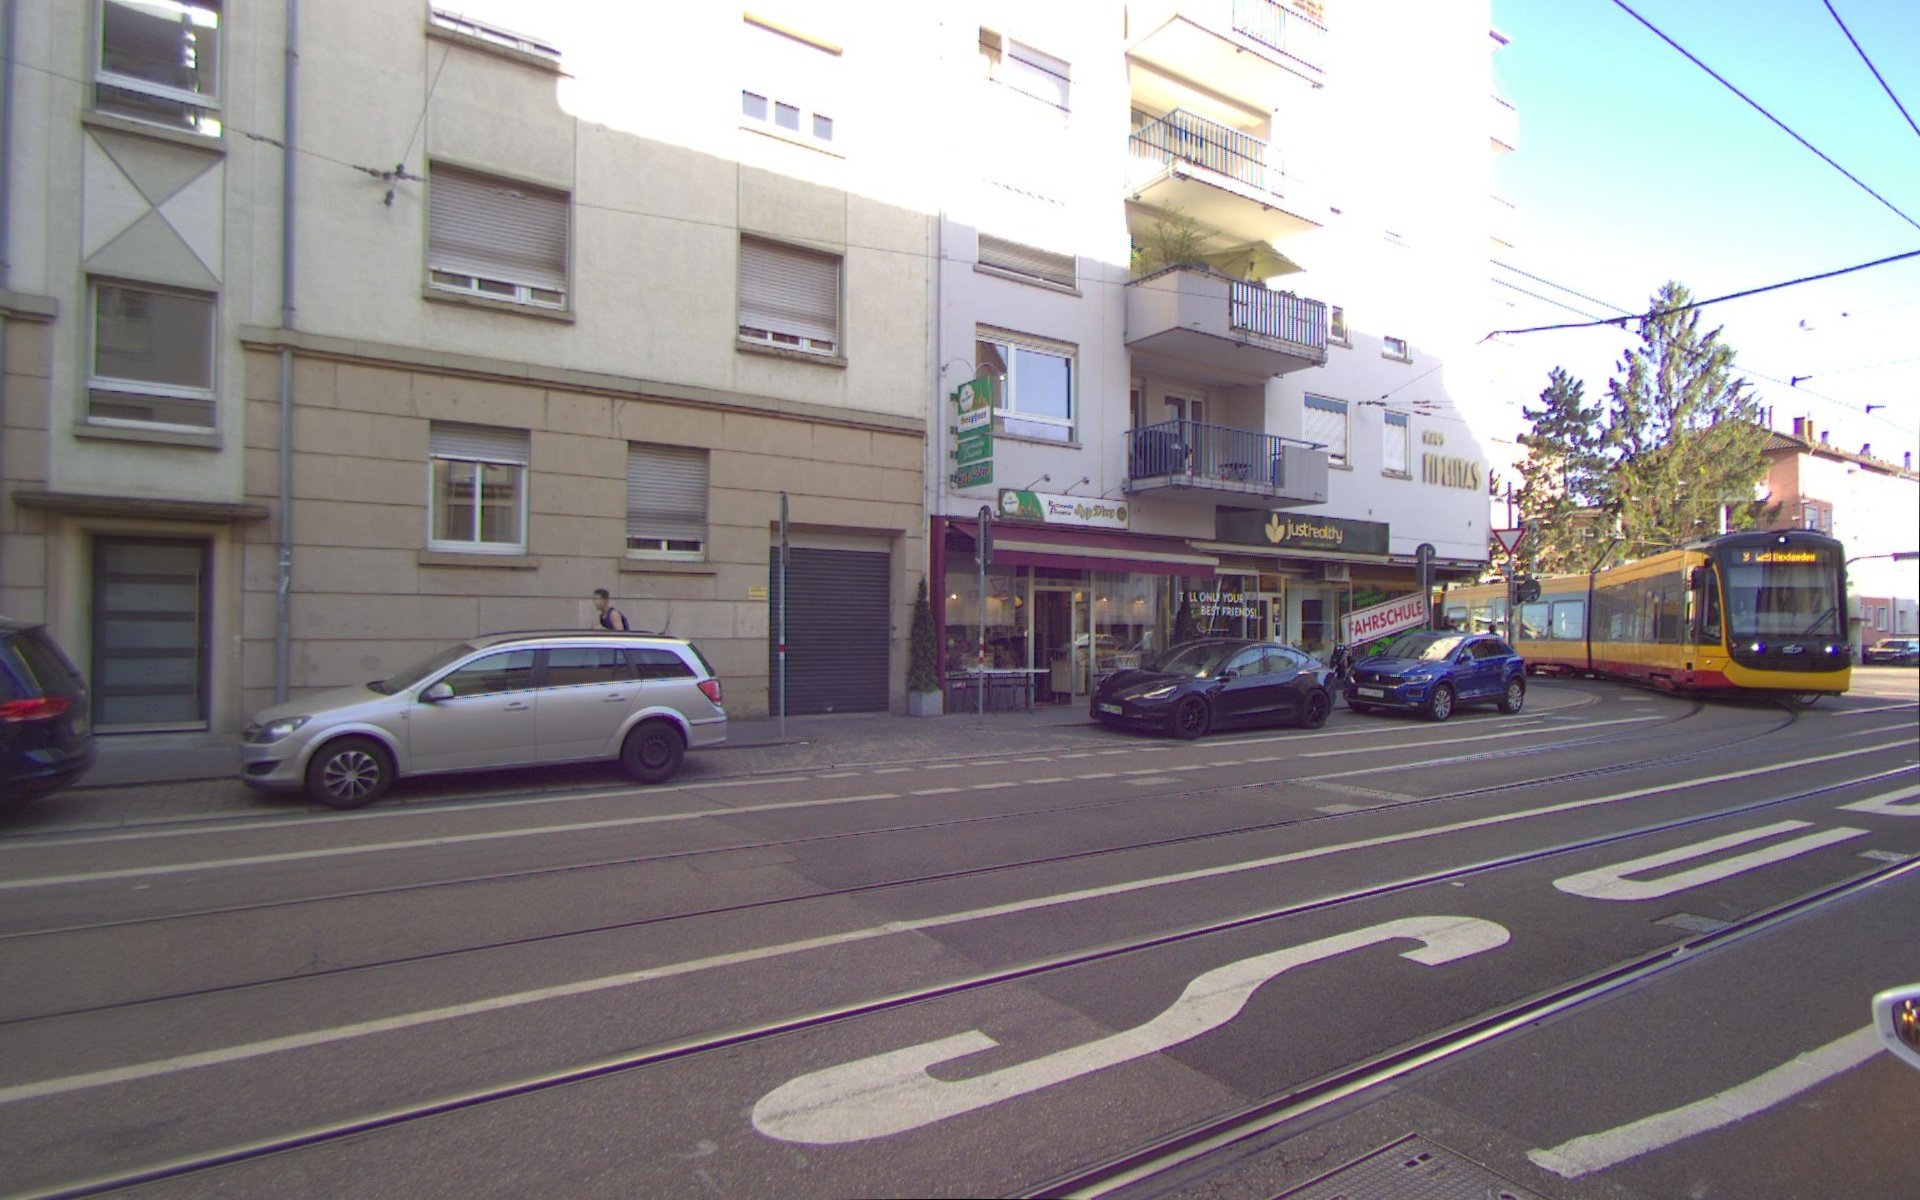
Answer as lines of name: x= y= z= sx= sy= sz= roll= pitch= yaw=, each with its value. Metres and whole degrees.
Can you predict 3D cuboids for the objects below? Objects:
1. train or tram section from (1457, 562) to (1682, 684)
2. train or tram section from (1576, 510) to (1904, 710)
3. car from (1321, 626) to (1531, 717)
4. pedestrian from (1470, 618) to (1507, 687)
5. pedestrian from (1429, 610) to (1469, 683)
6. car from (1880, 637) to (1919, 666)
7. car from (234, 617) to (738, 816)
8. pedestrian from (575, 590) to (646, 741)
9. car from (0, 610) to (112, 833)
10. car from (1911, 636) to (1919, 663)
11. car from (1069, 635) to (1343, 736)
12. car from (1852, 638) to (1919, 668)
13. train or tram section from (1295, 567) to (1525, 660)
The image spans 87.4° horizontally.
train or tram section: x=21.082 y=0.732 z=35.602 sx=2.778 sy=3.679 sz=9.087 roll=2 pitch=0 yaw=3
train or tram section: x=18.178 y=0.389 z=24.764 sx=3.012 sy=3.641 sz=12.628 roll=0 pitch=-2 yaw=22
car: x=8.933 y=1.287 z=19.159 sx=4.030 sy=1.552 sz=1.858 roll=1 pitch=-2 yaw=-34
pedestrian: x=14.283 y=1.419 z=27.151 sx=0.691 sy=1.829 sz=0.568 roll=2 pitch=0 yaw=-30
pedestrian: x=13.971 y=1.316 z=28.693 sx=0.688 sy=2.040 sz=0.764 roll=2 pitch=0 yaw=-35
car: x=53.527 y=2.889 z=56.226 sx=4.250 sy=1.518 sz=1.806 roll=2 pitch=0 yaw=-30
car: x=-4.705 y=1.034 z=10.314 sx=4.319 sy=1.580 sz=1.981 roll=2 pitch=0 yaw=-34
pedestrian: x=-4.467 y=0.814 z=12.833 sx=0.725 sy=1.857 sz=0.595 roll=2 pitch=0 yaw=-30
car: x=-9.019 y=0.861 z=7.216 sx=4.249 sy=1.606 sz=1.893 roll=2 pitch=0 yaw=-35
car: x=58.006 y=2.950 z=59.224 sx=4.103 sy=1.531 sz=1.778 roll=2 pitch=0 yaw=-31
car: x=4.004 y=1.272 z=16.085 sx=4.382 sy=1.405 sz=1.810 roll=1 pitch=-2 yaw=-34
car: x=49.587 y=2.827 z=53.632 sx=3.949 sy=1.440 sz=1.784 roll=2 pitch=0 yaw=-31
train or tram section: x=20.416 y=0.550 z=47.341 sx=2.703 sy=3.680 sz=14.245 roll=2 pitch=0 yaw=-8
